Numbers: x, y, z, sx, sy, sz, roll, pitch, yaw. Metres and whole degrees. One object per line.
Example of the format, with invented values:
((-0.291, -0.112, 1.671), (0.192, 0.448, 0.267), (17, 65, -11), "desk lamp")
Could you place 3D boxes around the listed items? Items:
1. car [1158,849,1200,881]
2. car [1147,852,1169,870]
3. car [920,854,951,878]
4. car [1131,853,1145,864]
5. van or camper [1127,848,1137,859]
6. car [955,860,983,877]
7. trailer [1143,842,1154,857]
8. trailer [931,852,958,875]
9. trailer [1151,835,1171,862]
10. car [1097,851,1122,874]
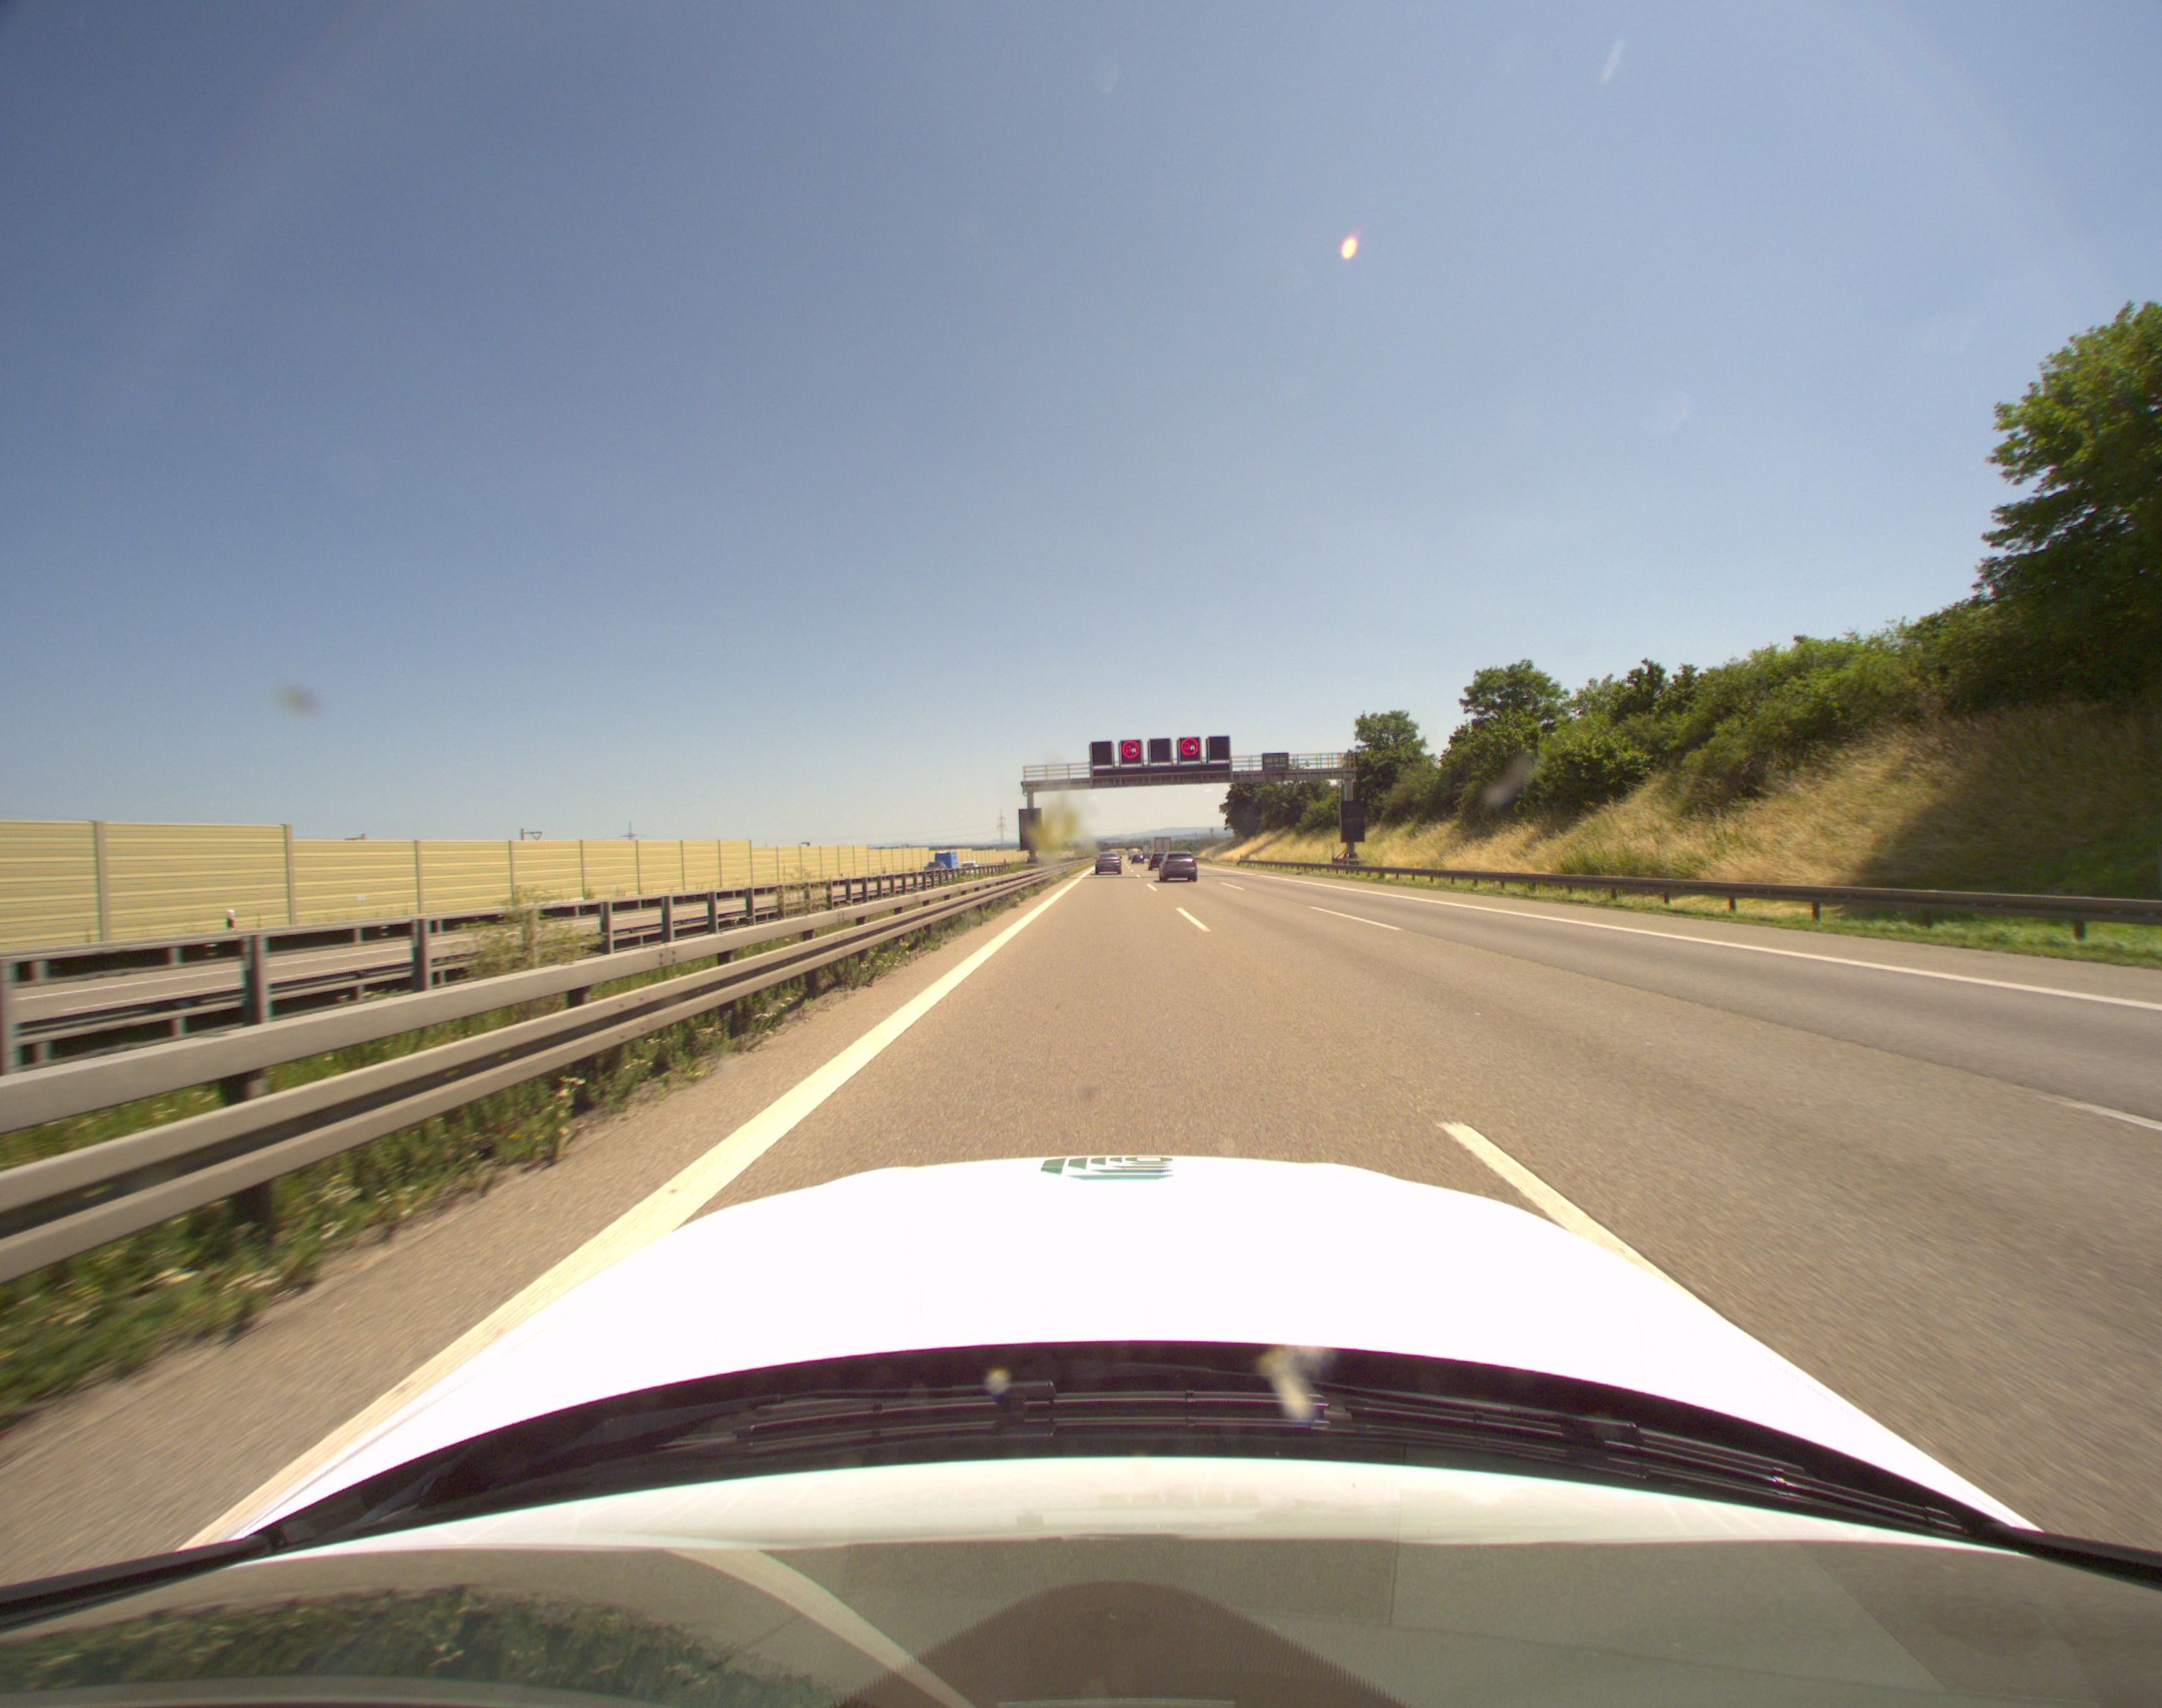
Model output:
((5.215, 0.575, 44.033), (1.844, 1.648, 4.646), (0, -1, 2), "car")
((6.955, 0.616, 73.855), (1.790, 1.562, 3.825), (0, -1, 2), "car")
((-14.347, 1.149, 80.472), (1.986, 2.225, 5.099), (0, 0, 1), "car")
((8.322, 0.684, 119.027), (1.924, 1.574, 4.940), (0, 0, 4), "car")
((11.350, -0.090, 179.988), (2.101, 2.211, 5.272), (0, -1, 5), "van or camper")
((-10.691, 1.370, 77.956), (1.886, 1.431, 4.725), (-5, -1, 1), "car")
((18.721, -1.201, 226.240), (2.929, 4.198, 13.613), (0, 0, 5), "trailer")
((-14.227, 0.984, 85.150), (1.986, 2.238, 4.205), (0, -1, 1), "trailer")
((13.212, -0.776, 135.363), (2.855, 4.220, 13.308), (0, 0, 4), "trailer")
((2.164, 0.623, 61.549), (1.844, 1.664, 3.736), (0, -1, 2), "car")
